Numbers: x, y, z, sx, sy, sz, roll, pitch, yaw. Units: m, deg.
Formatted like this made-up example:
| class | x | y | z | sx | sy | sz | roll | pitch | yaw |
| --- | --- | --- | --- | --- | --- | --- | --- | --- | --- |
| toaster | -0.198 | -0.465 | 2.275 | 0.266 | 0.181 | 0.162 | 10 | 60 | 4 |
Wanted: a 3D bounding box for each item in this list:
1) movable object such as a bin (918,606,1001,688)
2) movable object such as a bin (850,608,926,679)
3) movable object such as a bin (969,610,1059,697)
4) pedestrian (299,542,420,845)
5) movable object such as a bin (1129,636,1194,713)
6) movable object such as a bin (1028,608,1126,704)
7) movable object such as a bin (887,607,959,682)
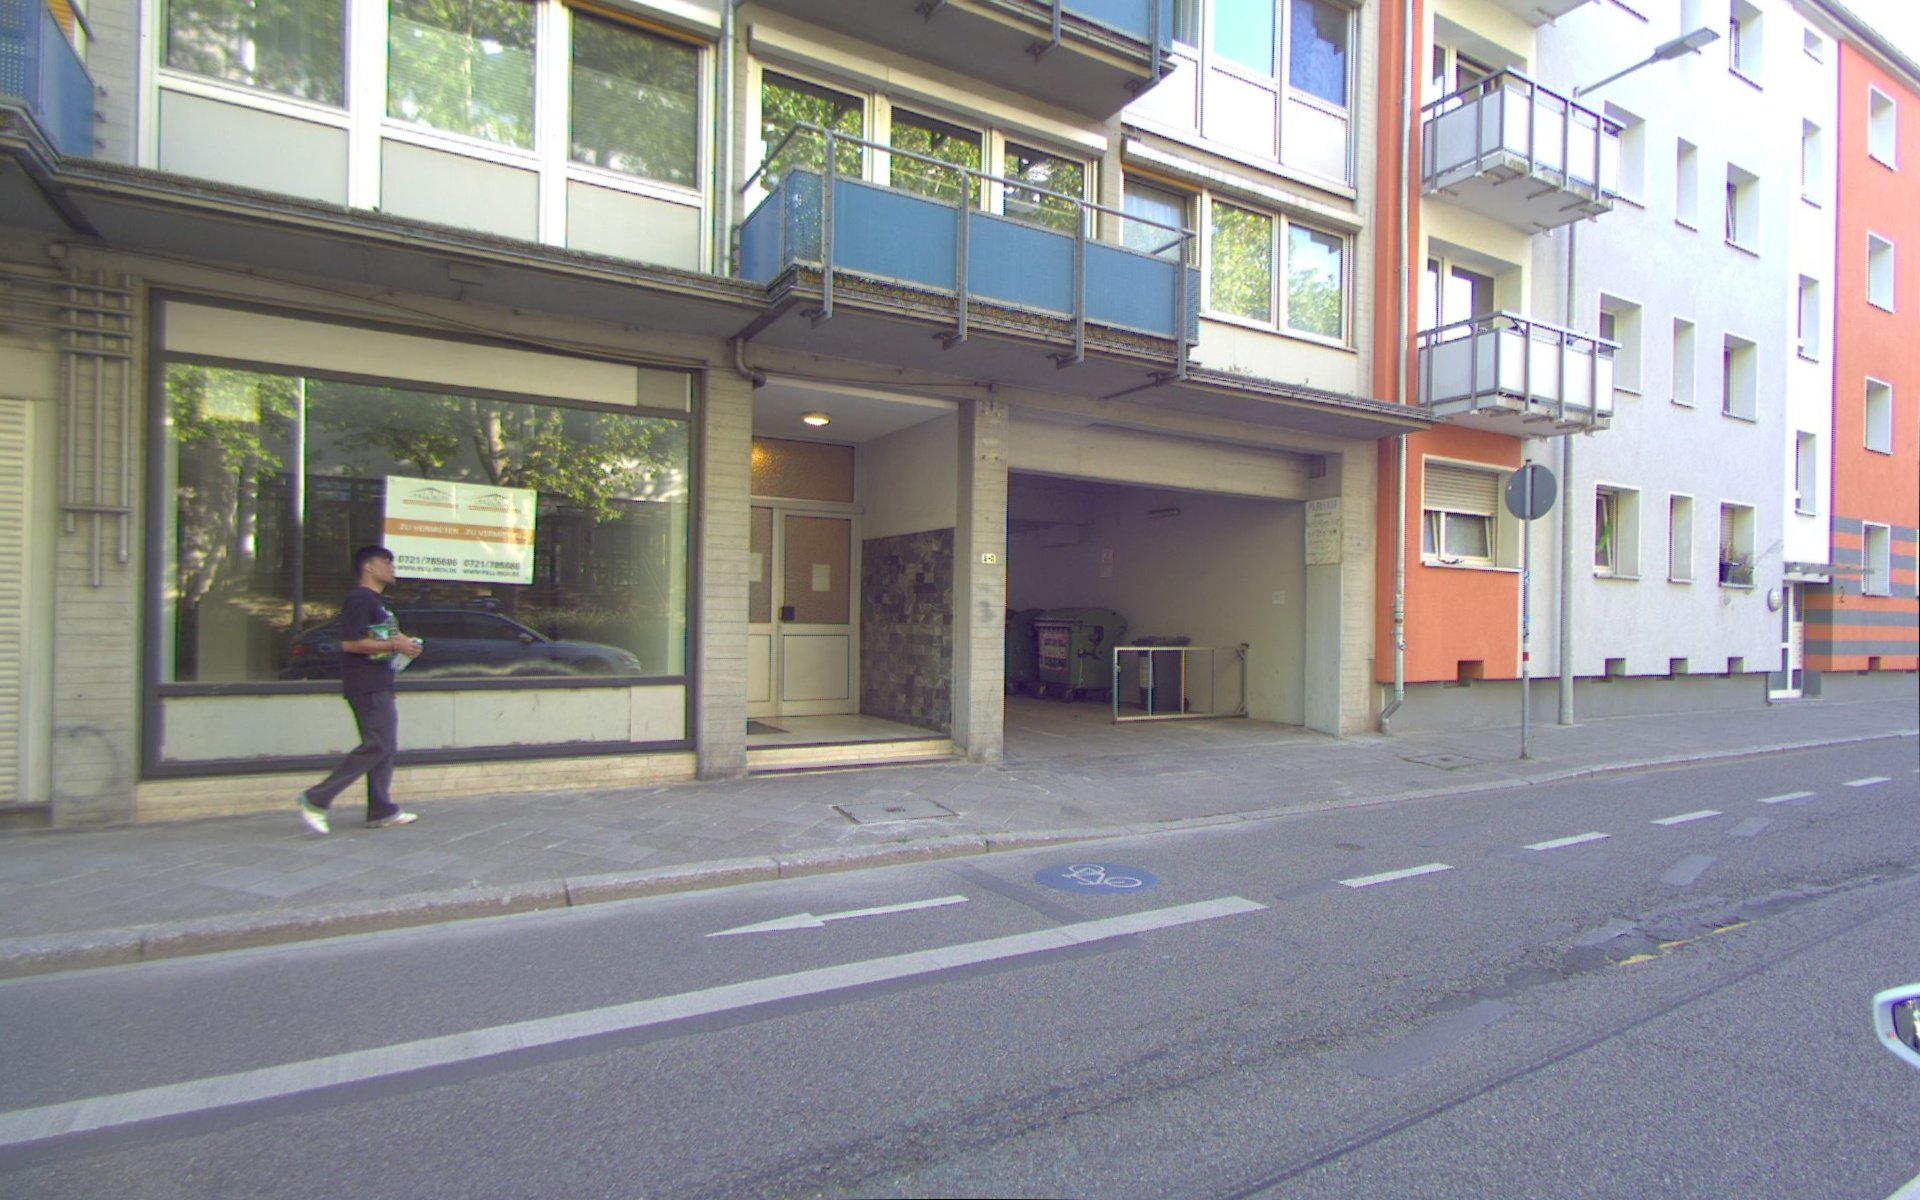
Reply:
| class | x | y | z | sx | sy | sz | roll | pitch | yaw |
| --- | --- | --- | --- | --- | --- | --- | --- | --- | --- |
| movable object such as a bin | -0.025 | 0.847 | 18.670 | 1.011 | 1.462 | 1.318 | 1 | 0 | -29 |
| movable object such as a bin | -1.490 | 0.873 | 20.658 | 1.014 | 1.409 | 1.264 | 1 | 0 | -37 |
| movable object such as a bin | 0.907 | 0.880 | 17.125 | 1.011 | 1.409 | 1.319 | 1 | 0 | -27 |
| pedestrian | -3.709 | 0.551 | 6.248 | 0.520 | 1.764 | 0.627 | 1 | 0 | -22 |
| movable object such as a bin | 2.901 | 1.062 | 14.493 | 0.704 | 1.054 | 0.583 | 1 | 0 | -30 |
| movable object such as a bin | 1.830 | 0.850 | 15.832 | 1.009 | 1.438 | 1.321 | 1 | 0 | -23 |
| movable object such as a bin | -0.736 | 0.858 | 19.679 | 1.012 | 1.409 | 1.046 | 1 | 0 | -31 |
